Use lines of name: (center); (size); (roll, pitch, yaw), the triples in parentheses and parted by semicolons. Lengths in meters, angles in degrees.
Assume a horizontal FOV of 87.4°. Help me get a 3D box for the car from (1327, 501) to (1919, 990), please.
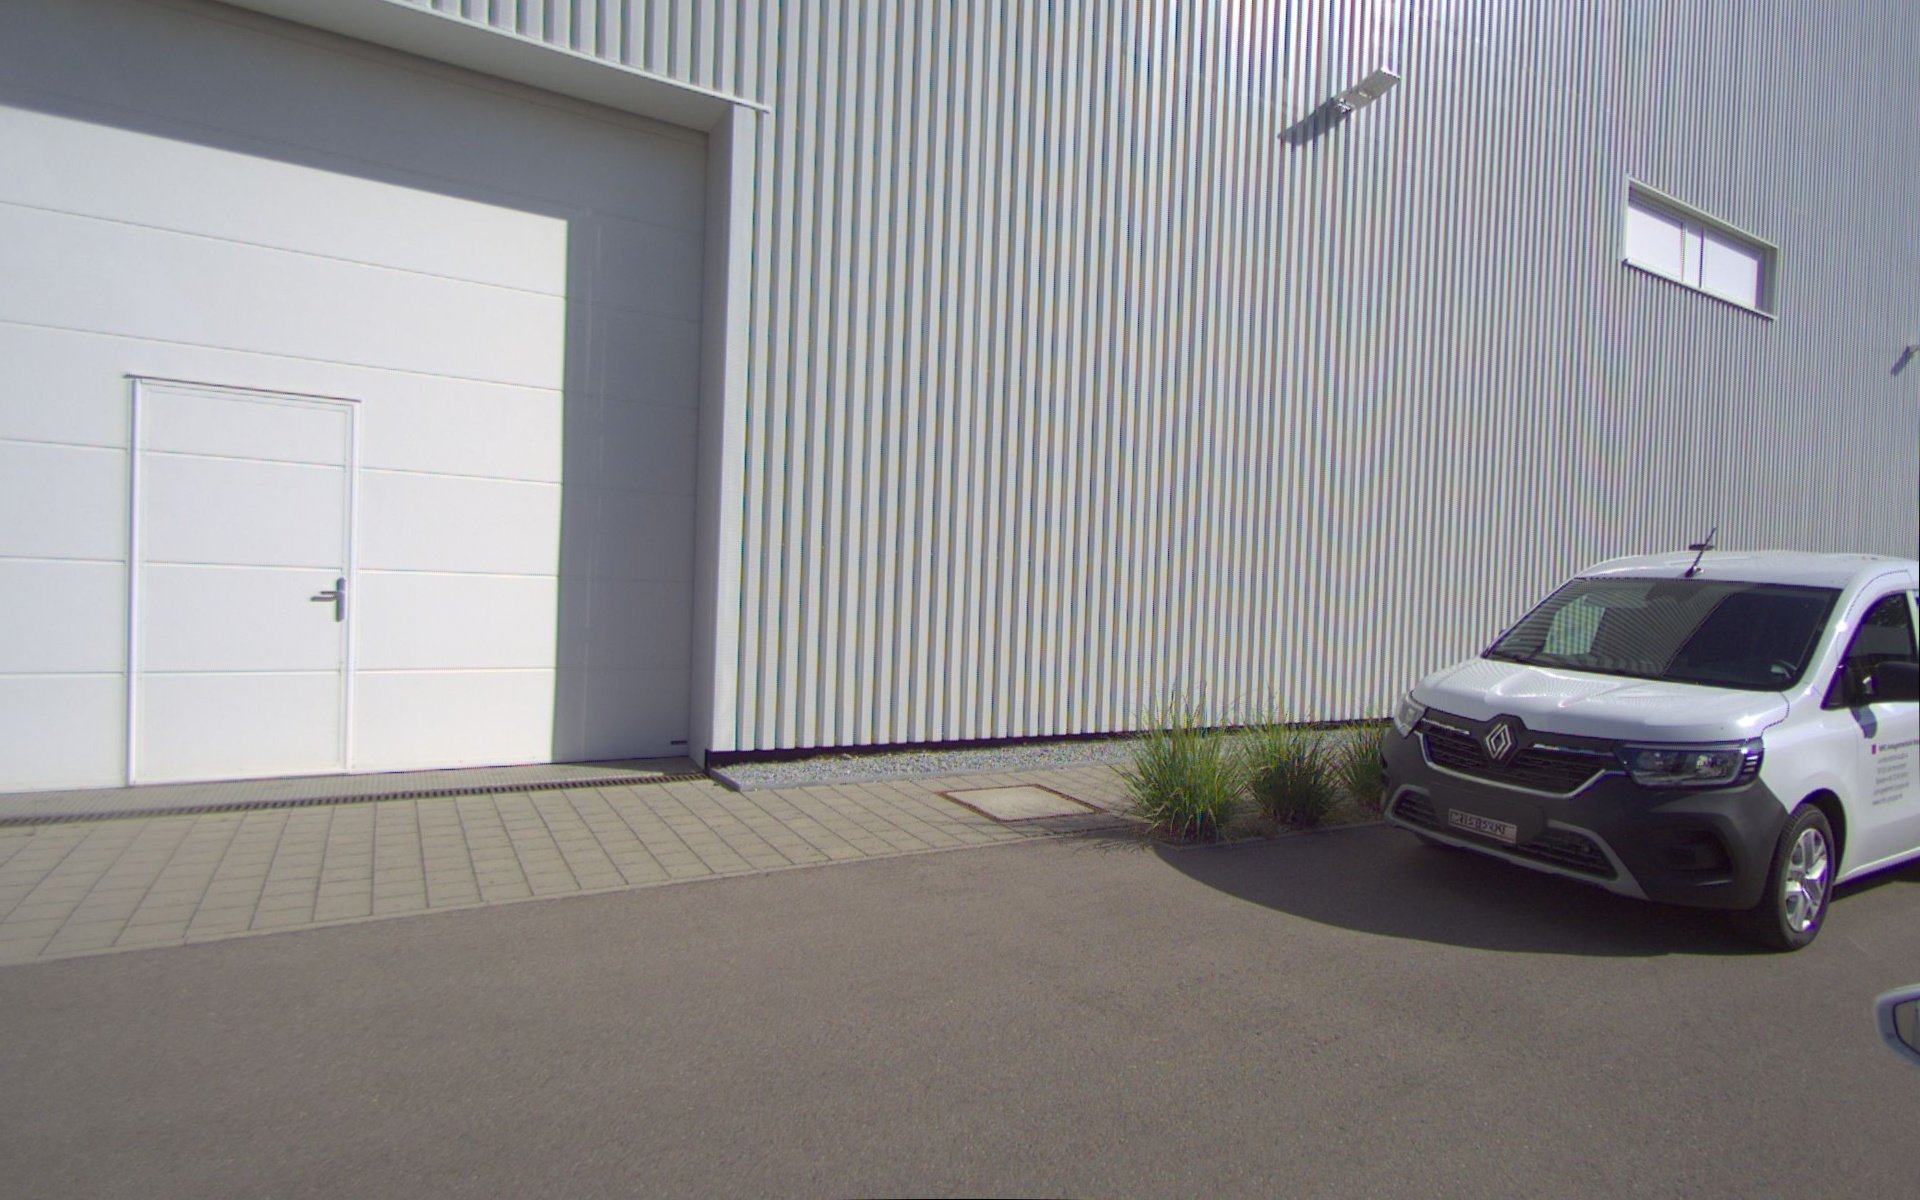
car: (4.375, 0.590, 5.706); (4.549, 1.840, 1.774); (2, 2, -31)
